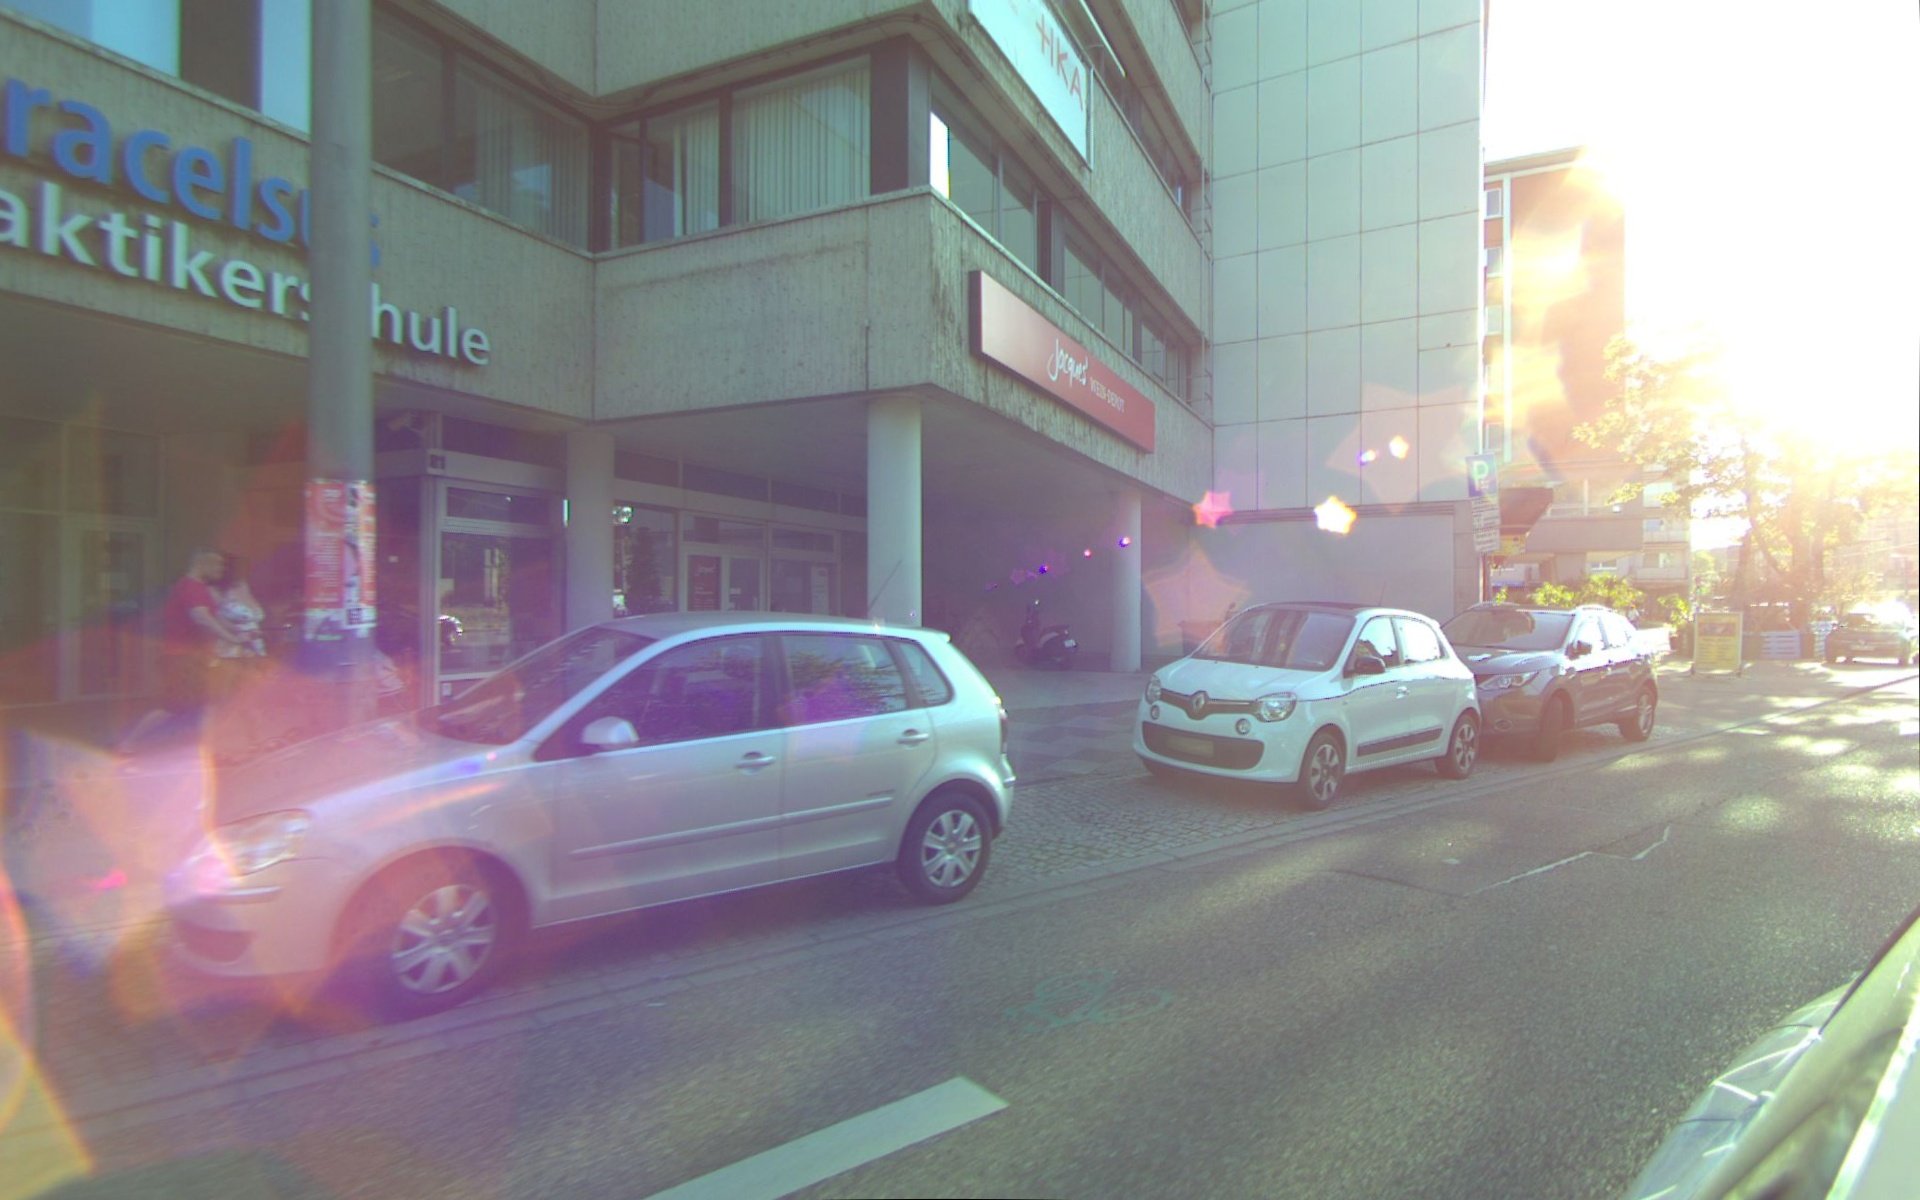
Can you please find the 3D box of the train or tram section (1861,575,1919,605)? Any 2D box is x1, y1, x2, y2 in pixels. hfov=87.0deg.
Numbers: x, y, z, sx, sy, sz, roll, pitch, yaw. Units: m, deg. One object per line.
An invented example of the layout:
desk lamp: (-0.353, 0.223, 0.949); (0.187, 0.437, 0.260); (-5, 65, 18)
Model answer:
train or tram section: (116.769, -1.157, 126.422); (2.754, 3.581, 13.128); (0, 0, 26)

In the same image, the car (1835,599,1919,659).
car: (25.731, 0.741, 28.035); (3.832, 1.490, 1.731); (0, 2, -42)

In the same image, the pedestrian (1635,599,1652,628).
pedestrian: (39.549, 0.782, 58.563); (0.723, 1.683, 0.896); (0, -1, 29)

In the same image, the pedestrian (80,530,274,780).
pedestrian: (-5.840, 0.380, 7.615); (1.011, 1.749, 0.700); (1, 0, -26)

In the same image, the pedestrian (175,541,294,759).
pedestrian: (-6.045, 0.385, 8.478); (0.628, 1.694, 0.994); (1, 0, -26)

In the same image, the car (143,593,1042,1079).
car: (-1.561, 0.733, 4.980); (3.785, 1.459, 1.666); (0, 2, -38)

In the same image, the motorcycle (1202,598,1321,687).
motorcycle: (4.953, 0.668, 16.688); (1.780, 1.348, 0.575); (2, 1, 40)

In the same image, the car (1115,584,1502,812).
car: (3.174, 0.686, 8.935); (3.546, 1.576, 1.611); (0, 2, -40)

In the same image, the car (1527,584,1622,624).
car: (40.188, 0.251, 66.348); (5.217, 2.514, 1.907); (0, -1, 28)

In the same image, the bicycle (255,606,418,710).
bicycle: (-7.148, 0.643, 11.603); (1.732, 1.085, 0.482); (1, 0, 13)

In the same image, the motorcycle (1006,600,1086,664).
motorcycle: (1.695, 0.609, 20.324); (0.519, 1.220, 2.021); (0, 0, -30)

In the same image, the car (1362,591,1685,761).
car: (6.613, 0.729, 11.712); (4.157, 1.576, 1.787); (0, 2, -38)

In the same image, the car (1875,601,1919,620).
car: (76.451, 0.863, 82.119); (1.823, 1.419, 4.545); (-3, -1, 24)

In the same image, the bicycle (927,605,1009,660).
bicycle: (0.156, 0.684, 22.034); (1.861, 1.088, 0.477); (2, 0, 39)
